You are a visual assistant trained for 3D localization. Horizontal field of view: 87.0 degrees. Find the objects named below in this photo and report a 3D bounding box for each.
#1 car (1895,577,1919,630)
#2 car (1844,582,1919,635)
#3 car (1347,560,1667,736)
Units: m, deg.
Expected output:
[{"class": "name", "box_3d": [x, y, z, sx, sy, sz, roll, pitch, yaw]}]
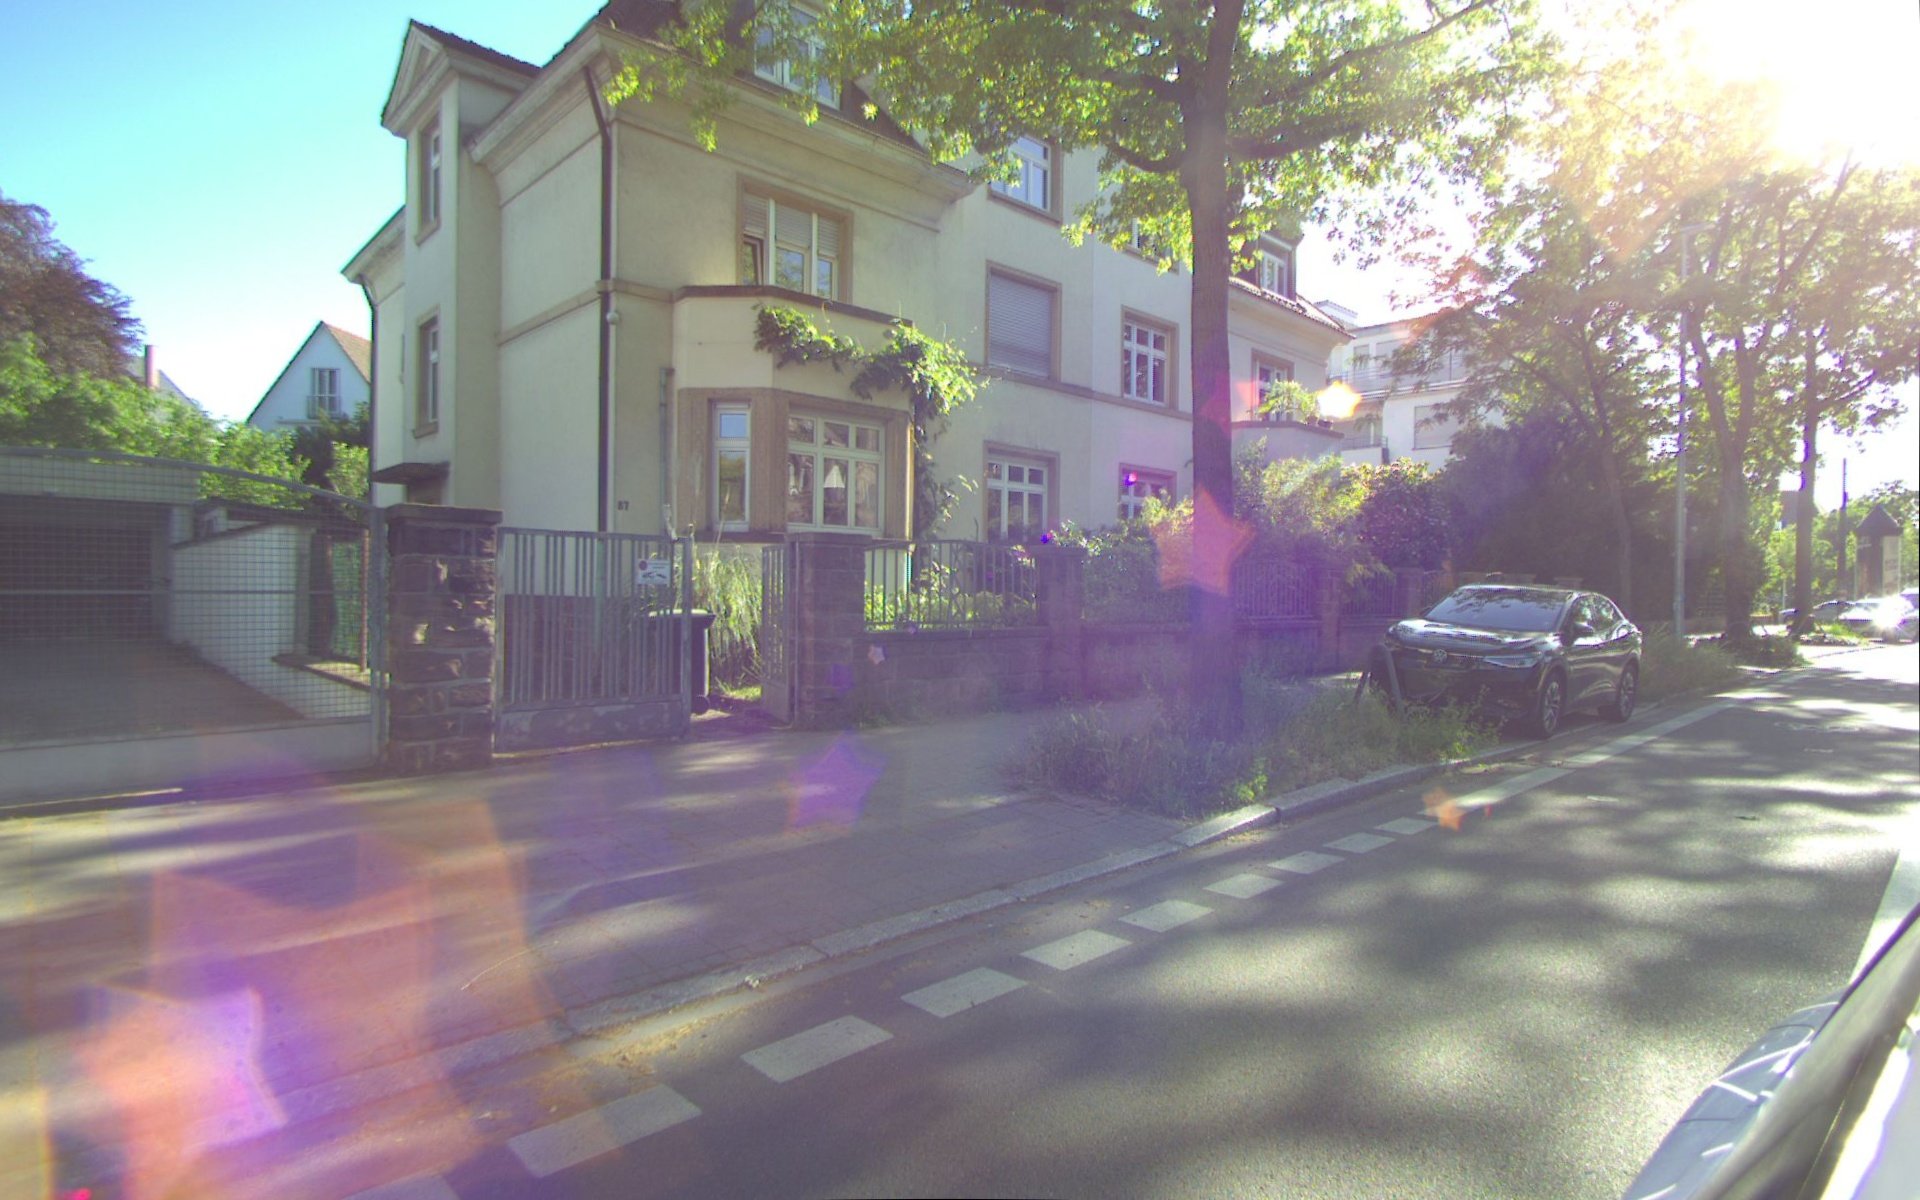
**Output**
[{"class": "car", "box_3d": [36.769, 0.132, 37.867, 4.663, 1.919, 2.128, 0, 1, -41]}, {"class": "car", "box_3d": [31.496, 0.254, 34.115, 3.927, 1.660, 1.824, 0, 1, -38]}, {"class": "car", "box_3d": [6.701, 0.479, 12.193, 4.304, 1.695, 1.997, 1, 2, -42]}]
